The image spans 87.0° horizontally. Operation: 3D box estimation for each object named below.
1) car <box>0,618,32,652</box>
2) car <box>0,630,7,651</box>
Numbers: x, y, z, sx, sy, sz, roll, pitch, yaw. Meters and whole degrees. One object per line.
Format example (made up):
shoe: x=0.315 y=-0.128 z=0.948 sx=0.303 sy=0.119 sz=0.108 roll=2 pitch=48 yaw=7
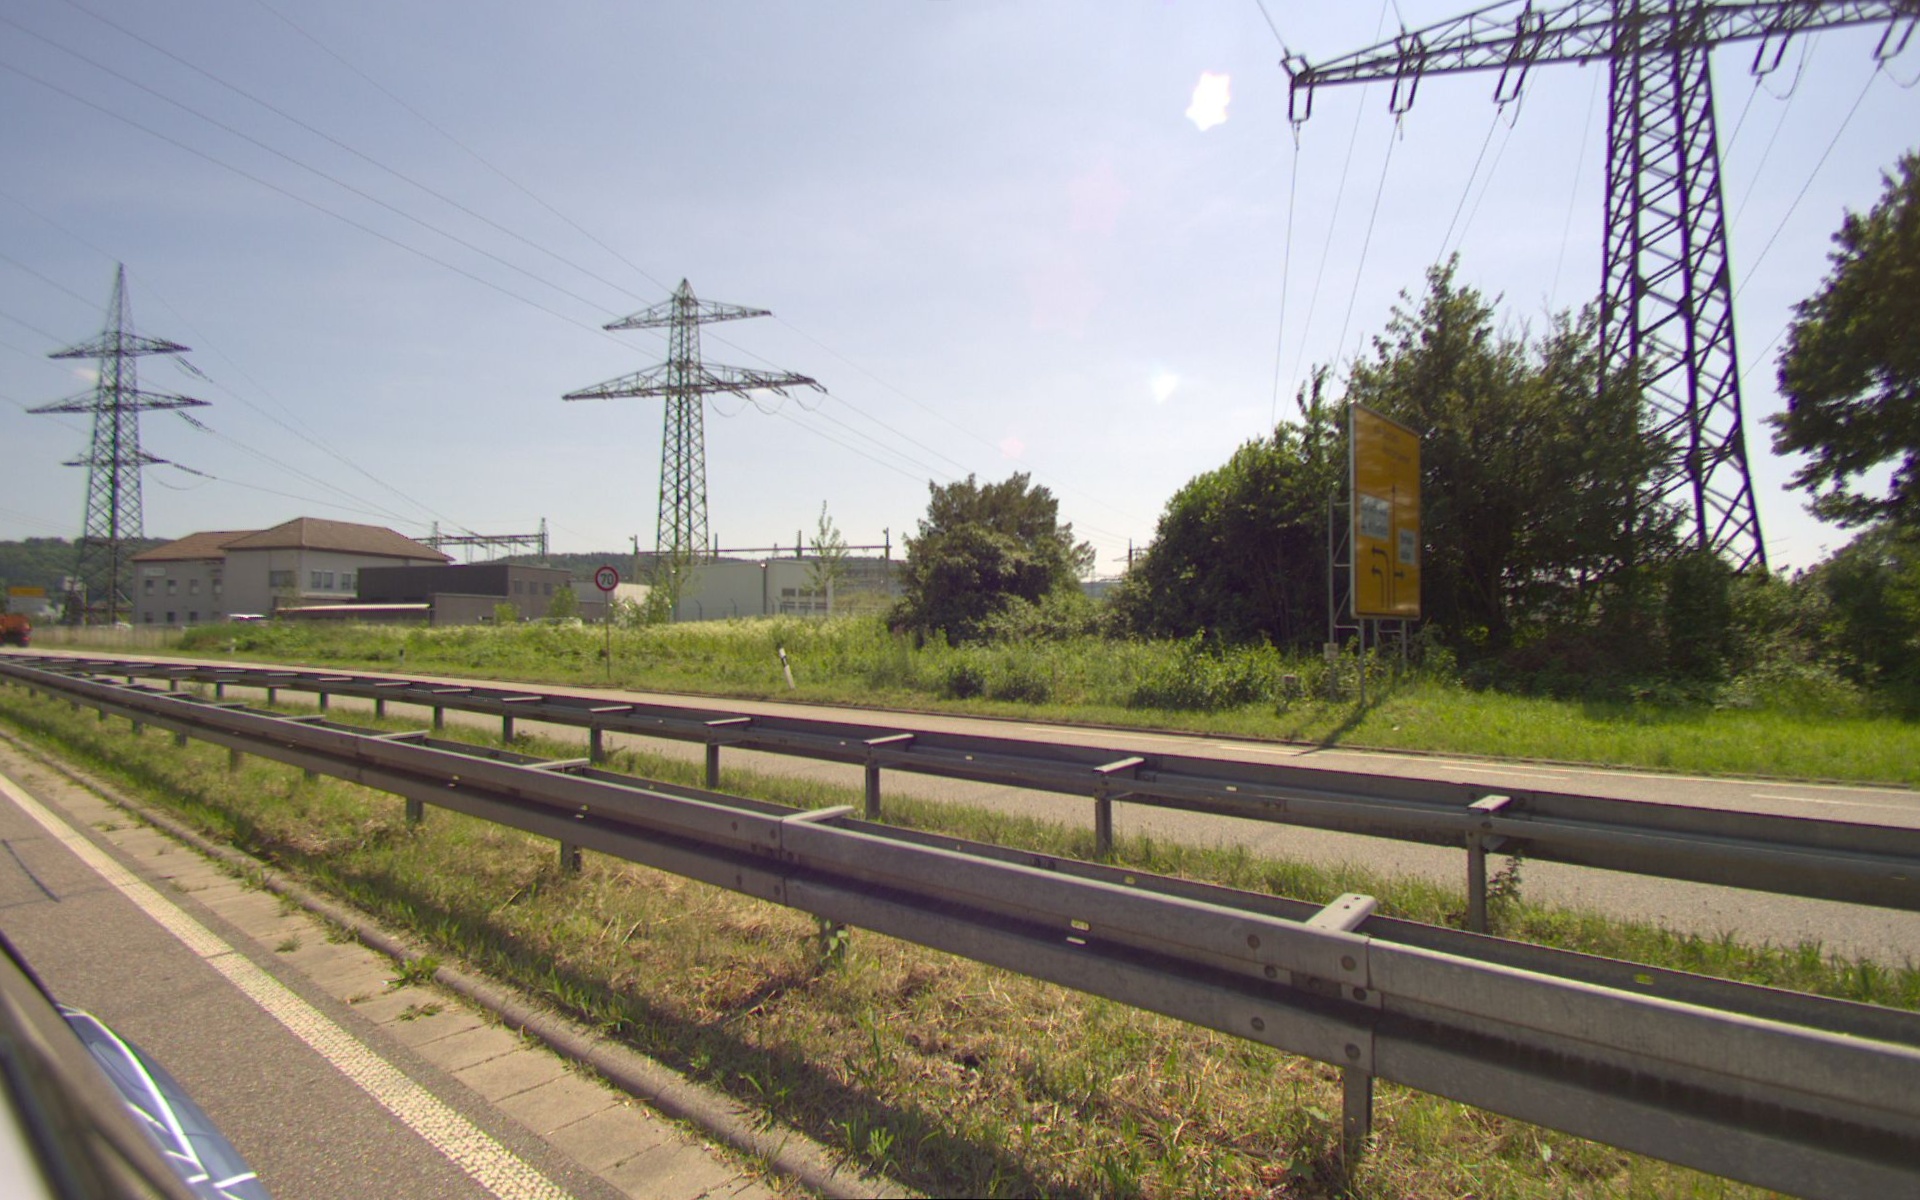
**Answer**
car: x=-87.746 y=3.241 z=93.199 sx=5.634 sy=3.084 sz=2.574 roll=-2 pitch=-3 yaw=40
car: x=-95.385 y=3.974 z=99.433 sx=3.993 sy=1.929 sz=1.975 roll=0 pitch=0 yaw=37
